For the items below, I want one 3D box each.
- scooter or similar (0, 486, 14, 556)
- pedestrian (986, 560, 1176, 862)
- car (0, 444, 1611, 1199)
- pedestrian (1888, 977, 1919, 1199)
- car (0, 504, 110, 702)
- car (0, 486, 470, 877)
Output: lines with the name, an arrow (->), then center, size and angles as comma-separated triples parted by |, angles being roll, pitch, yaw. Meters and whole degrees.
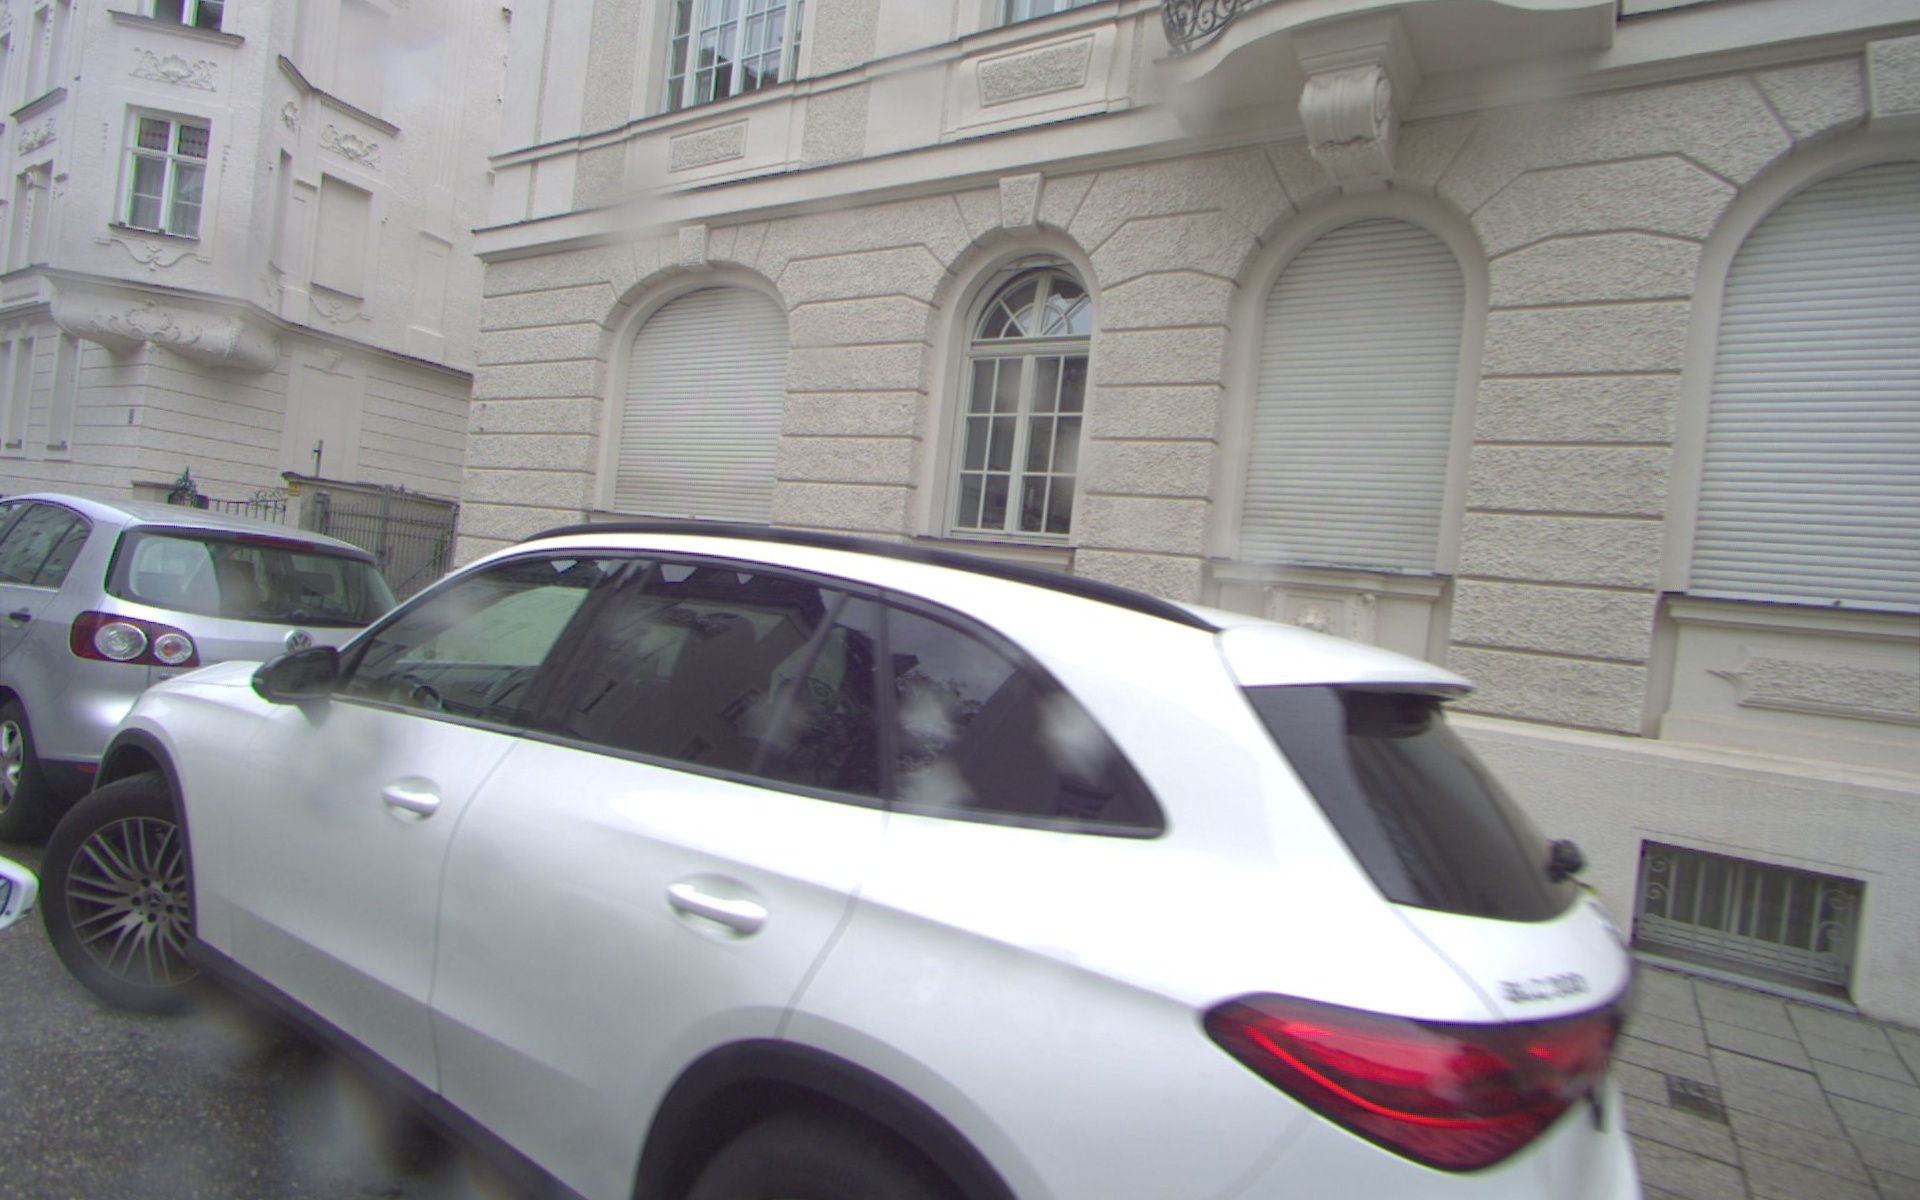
scooter or similar -> -18.775, -1.570, 19.499 | 1.332, 1.305, 0.505 | 7, 3, 42
pedestrian -> 0.762, 0.651, 6.334 | 0.799, 1.701, 0.682 | 8, 3, 32
car -> -0.840, 0.631, 2.853 | 4.321, 1.657, 1.896 | 8, 1, 35
pedestrian -> 3.116, 0.917, 2.537 | 0.841, 1.800, 0.681 | 8, 4, 34
car -> -8.710, -0.190, 8.140 | 3.935, 1.411, 1.615 | 7, -1, 33
car -> -4.835, 0.210, 5.705 | 3.933, 1.519, 1.711 | 7, -1, 31
